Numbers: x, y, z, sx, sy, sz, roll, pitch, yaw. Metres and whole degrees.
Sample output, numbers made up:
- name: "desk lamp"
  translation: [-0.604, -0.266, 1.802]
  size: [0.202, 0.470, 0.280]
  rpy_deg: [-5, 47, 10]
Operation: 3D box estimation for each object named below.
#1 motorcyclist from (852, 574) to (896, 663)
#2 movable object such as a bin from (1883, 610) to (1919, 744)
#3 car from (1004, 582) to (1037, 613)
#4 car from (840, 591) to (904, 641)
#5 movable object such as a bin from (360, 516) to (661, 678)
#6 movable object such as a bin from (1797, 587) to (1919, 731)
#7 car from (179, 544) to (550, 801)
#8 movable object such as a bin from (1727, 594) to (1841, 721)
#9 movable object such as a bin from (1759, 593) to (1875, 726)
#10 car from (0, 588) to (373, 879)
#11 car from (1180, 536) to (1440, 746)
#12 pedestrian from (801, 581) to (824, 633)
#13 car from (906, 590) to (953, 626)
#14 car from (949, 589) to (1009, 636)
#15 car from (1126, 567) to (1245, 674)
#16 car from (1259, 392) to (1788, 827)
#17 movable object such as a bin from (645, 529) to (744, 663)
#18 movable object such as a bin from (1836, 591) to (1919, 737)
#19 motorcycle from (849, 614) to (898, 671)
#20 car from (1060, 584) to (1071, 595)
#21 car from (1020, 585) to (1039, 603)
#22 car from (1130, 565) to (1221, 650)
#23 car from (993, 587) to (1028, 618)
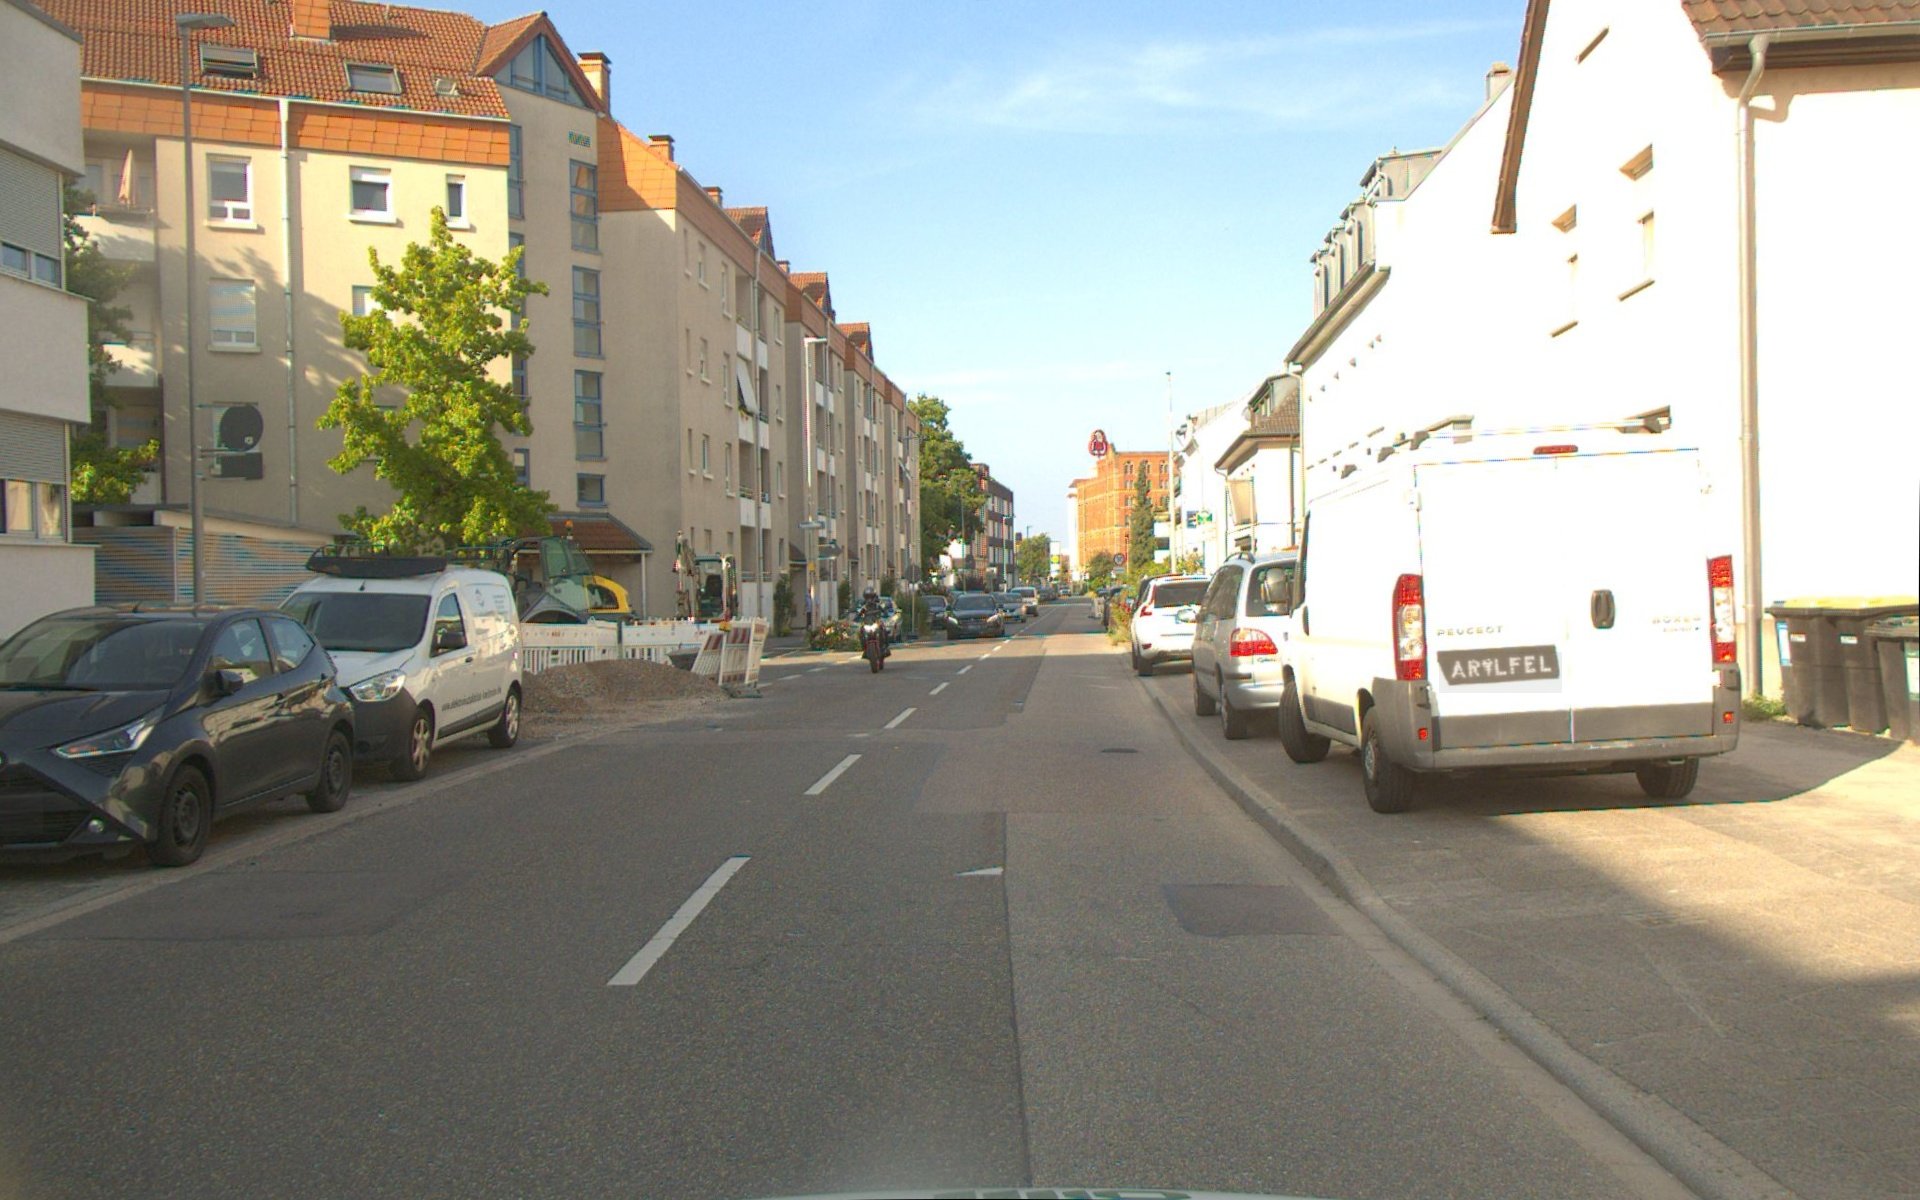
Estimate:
- name: "motorcyclist"
  translation: [-1.647, 0.341, 31.770]
  size: [0.753, 1.681, 0.844]
  rpy_deg: [-1, 0, 1]
- name: "movable object such as a bin"
  translation: [7.420, 0.564, 12.371]
  size: [0.713, 0.975, 0.554]
  rpy_deg: [-1, 0, 2]
- name: "car"
  translation: [3.769, -0.158, 102.684]
  size: [1.882, 1.798, 4.340]
  rpy_deg: [-1, 0, 3]
- name: "car"
  translation: [-2.737, 0.472, 51.932]
  size: [1.606, 1.420, 3.673]
  rpy_deg: [-2, 1, 3]
- name: "movable object such as a bin"
  translation: [-8.489, -0.092, 31.758]
  size: [5.398, 2.951, 2.106]
  rpy_deg: [0, 1, -11]
- name: "movable object such as a bin"
  translation: [7.428, 0.478, 13.682]
  size: [0.713, 1.152, 0.554]
  rpy_deg: [-1, 0, 2]
- name: "car"
  translation: [-5.205, 0.534, 15.144]
  size: [1.691, 1.995, 4.440]
  rpy_deg: [0, 1, 1]
- name: "movable object such as a bin"
  translation: [7.432, 0.506, 14.947]
  size: [0.713, 1.112, 0.625]
  rpy_deg: [-1, 0, 2]
- name: "movable object such as a bin"
  translation: [7.420, 0.504, 14.335]
  size: [0.713, 1.112, 0.554]
  rpy_deg: [-1, 0, 2]
- name: "car"
  translation: [-5.047, 0.689, 10.388]
  size: [1.462, 1.490, 3.513]
  rpy_deg: [-1, 1, -1]
- name: "car"
  translation: [3.384, 0.327, 16.814]
  size: [1.741, 1.771, 4.484]
  rpy_deg: [-3, 1, 2]
- name: "pedestrian"
  translation: [-5.310, 0.251, 59.530]
  size: [0.703, 1.850, 0.745]
  rpy_deg: [-1, 1, 4]
- name: "car"
  translation: [-1.255, 0.324, 69.986]
  size: [1.650, 1.430, 4.086]
  rpy_deg: [0, 0, 3]
- name: "car"
  translation: [0.680, 0.380, 55.269]
  size: [1.791, 1.445, 4.211]
  rpy_deg: [-2, 0, 3]
- name: "car"
  translation: [4.007, 0.302, 29.987]
  size: [1.774, 1.713, 4.479]
  rpy_deg: [-3, 1, 4]
- name: "car"
  translation: [3.653, 0.020, 11.895]
  size: [2.129, 2.368, 4.999]
  rpy_deg: [-3, 1, 2]
- name: "movable object such as a bin"
  translation: [-6.656, -0.124, 41.832]
  size: [1.613, 3.193, 3.902]
  rpy_deg: [-1, 1, 3]
- name: "movable object such as a bin"
  translation: [7.429, 0.494, 13.066]
  size: [0.713, 1.112, 0.554]
  rpy_deg: [-1, 0, 2]
- name: "motorcycle"
  translation: [-1.645, 0.790, 31.674]
  size: [0.752, 1.002, 2.200]
  rpy_deg: [-1, 1, 2]
- name: "car"
  translation: [16.075, -1.588, 251.964]
  size: [1.726, 1.644, 4.002]
  rpy_deg: [-2, 0, 4]
- name: "car"
  translation: [7.878, -0.704, 187.610]
  size: [1.951, 1.914, 4.002]
  rpy_deg: [-1, 0, 5]
- name: "car"
  translation: [5.275, 0.125, 40.895]
  size: [2.031, 1.888, 4.614]
  rpy_deg: [-3, 1, 6]
- name: "car"
  translation: [2.532, 0.108, 81.733]
  size: [1.584, 1.480, 3.687]
  rpy_deg: [-2, 0, 3]
